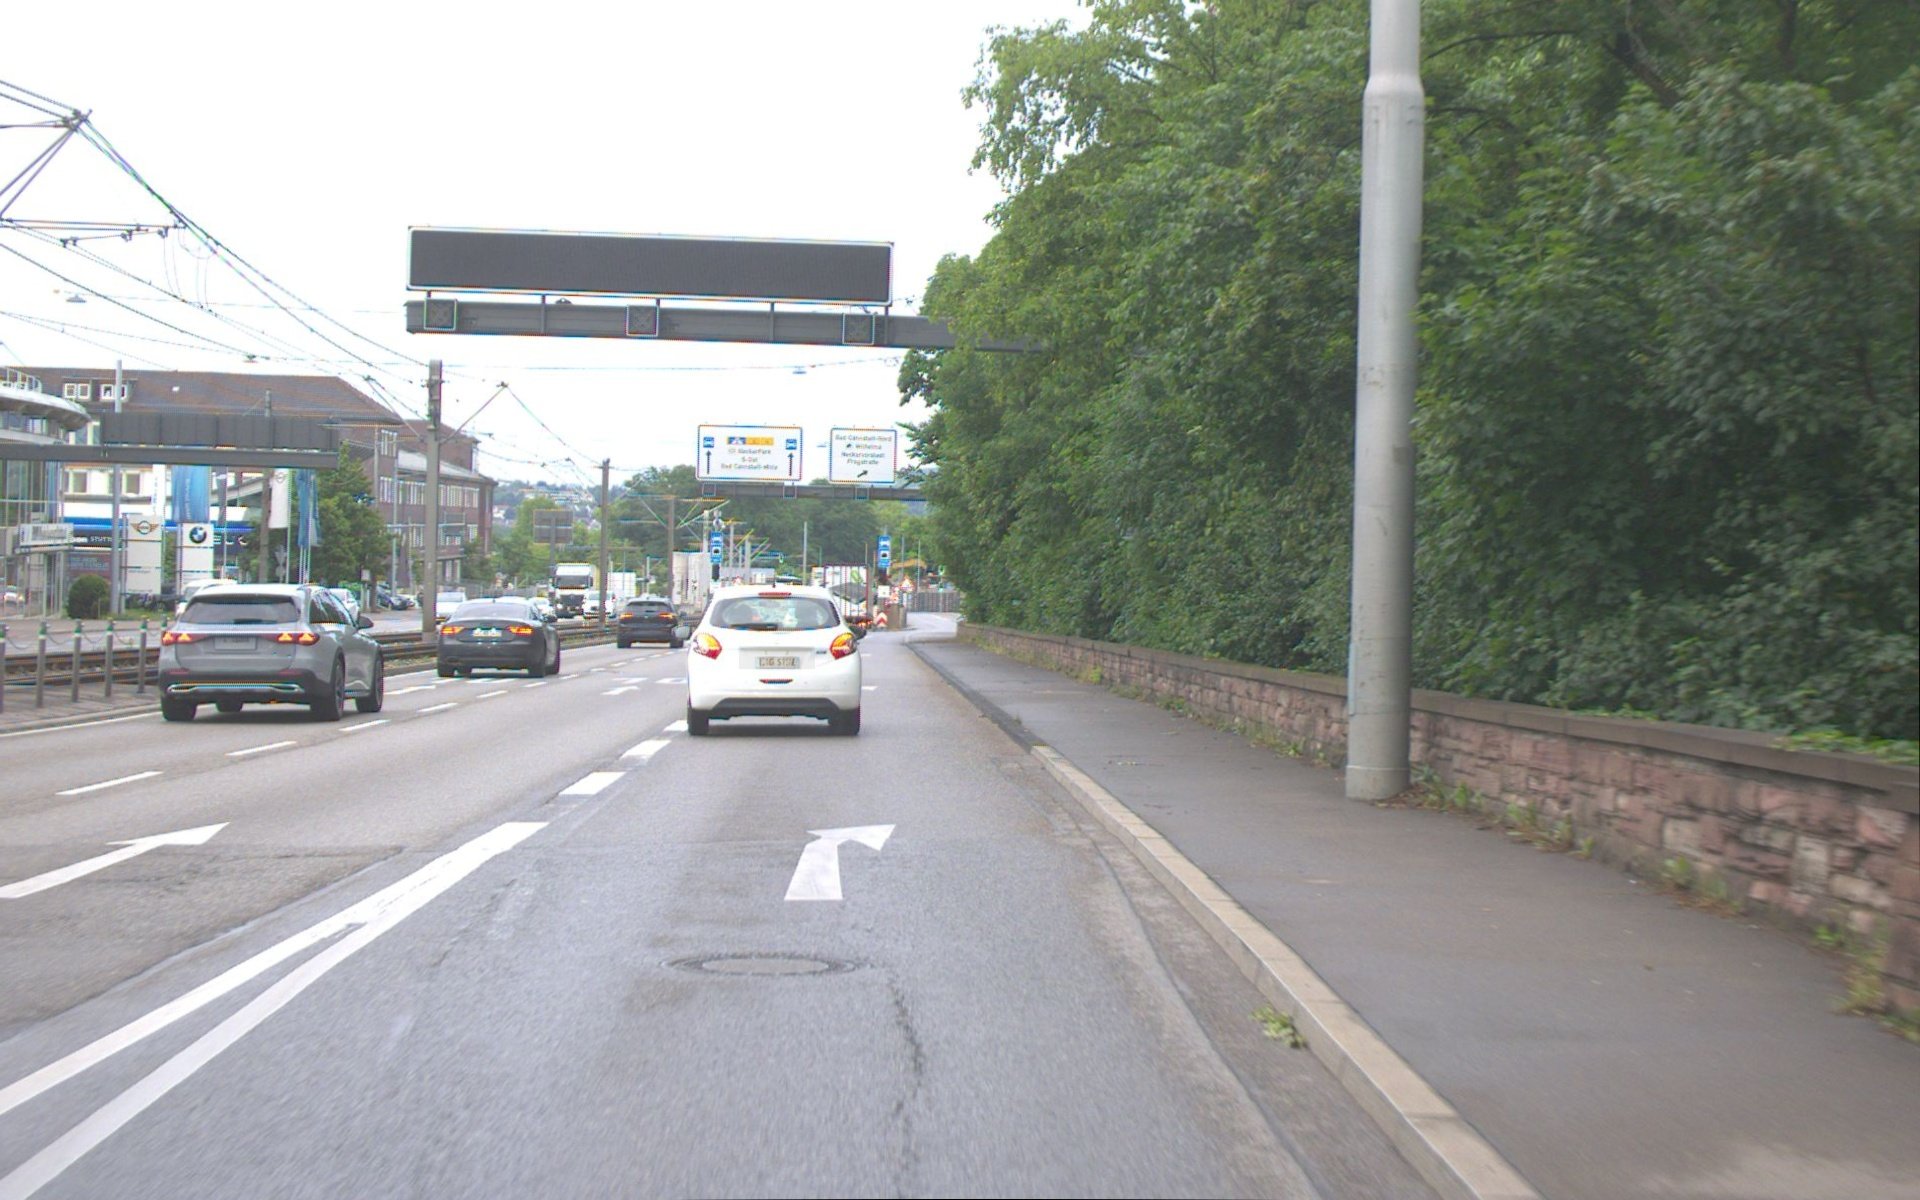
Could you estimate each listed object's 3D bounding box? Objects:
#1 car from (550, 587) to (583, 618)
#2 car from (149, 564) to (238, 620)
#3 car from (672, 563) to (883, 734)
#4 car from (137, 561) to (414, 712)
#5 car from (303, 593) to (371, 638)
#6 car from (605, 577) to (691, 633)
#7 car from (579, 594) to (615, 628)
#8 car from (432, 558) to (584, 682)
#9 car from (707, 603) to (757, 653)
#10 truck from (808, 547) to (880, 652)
[{"bbox_3d":[-28.770,0.197,251.471,1.993,2.007,3.999,2,-3,-2],"label":"car"},{"bbox_3d":[-24.579,-0.234,110.416,1.993,1.656,4.000,2,-1,-1],"label":"car"},{"bbox_3d":[-1.782,0.442,34.715,1.955,1.483,4.001,2,1,-1],"label":"car"},{"bbox_3d":[-7.480,0.387,37.962,1.821,1.560,4.091,-1,0,7],"label":"car"},{"bbox_3d":[-24.433,0.612,134.955,1.993,1.656,4.000,2,-1,-1],"label":"car"},{"bbox_3d":[-8.989,0.158,99.260,1.993,1.570,4.000,0,-1,2],"label":"car"},{"bbox_3d":[-24.003,0.732,227.202,1.993,2.007,3.999,2,-3,-2],"label":"car"},{"bbox_3d":[-7.804,0.308,59.582,1.722,1.884,3.534,1,3,8],"label":"car"},{"bbox_3d":[-10.262,1.268,154.909,1.993,2.007,3.999,2,-3,-2],"label":"car"},{"bbox_3d":[-6.779,0.058,202.947,3.465,5.383,12.049,2,-3,1],"label":"truck"}]
